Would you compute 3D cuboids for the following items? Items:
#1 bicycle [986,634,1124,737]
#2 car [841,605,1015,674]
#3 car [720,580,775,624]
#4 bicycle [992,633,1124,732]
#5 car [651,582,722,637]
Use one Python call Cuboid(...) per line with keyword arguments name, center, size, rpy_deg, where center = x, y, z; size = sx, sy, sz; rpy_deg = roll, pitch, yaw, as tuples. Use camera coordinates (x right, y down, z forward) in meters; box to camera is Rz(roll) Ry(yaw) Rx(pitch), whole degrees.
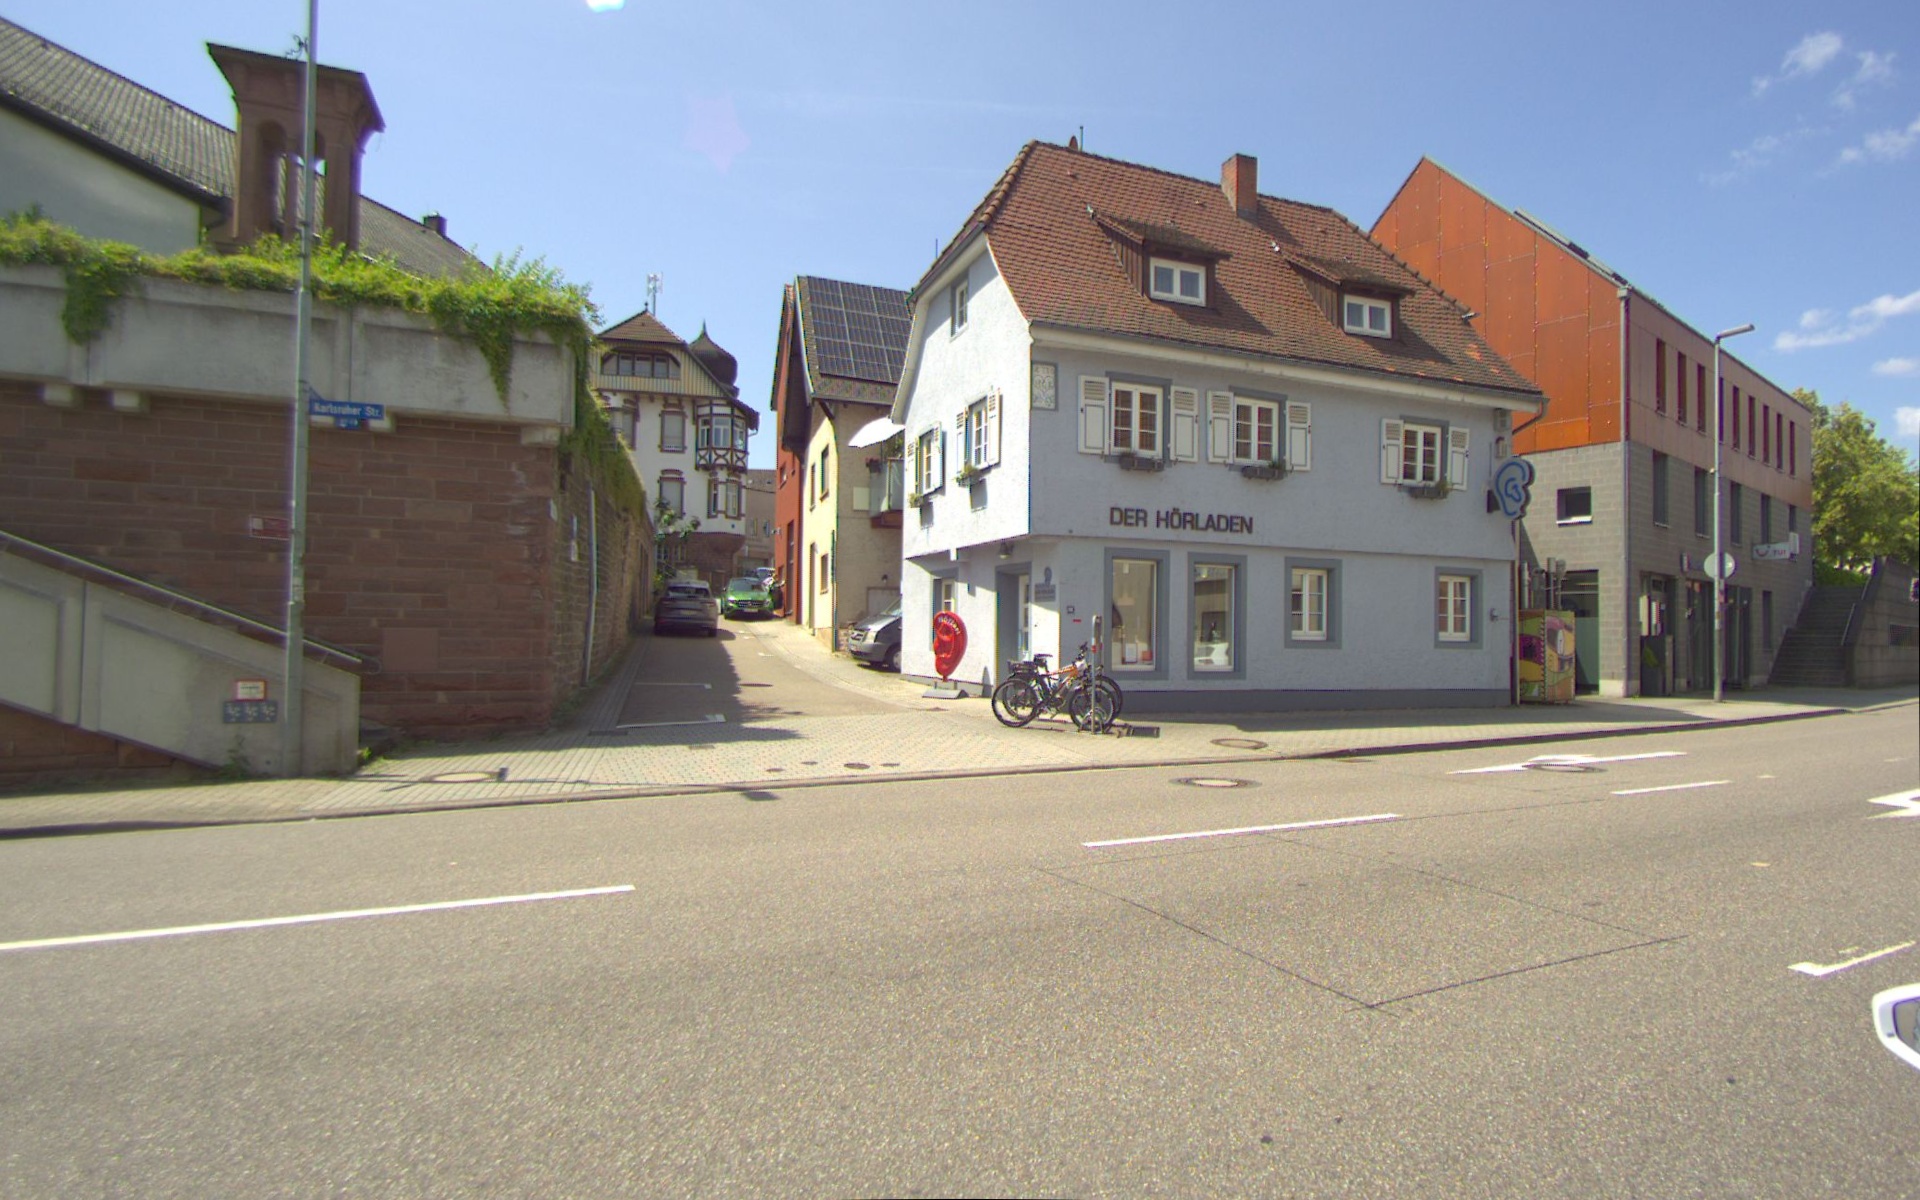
Cuboid(name="bicycle", center=(1.311, 1.155, 13.877), size=(1.794, 1.266, 0.578), rpy_deg=(2, 2, 16))
Cuboid(name="car", center=(-0.821, 0.949, 24.289), size=(3.929, 1.503, 1.862), rpy_deg=(2, -1, -11))
Cuboid(name="car", center=(-8.207, 0.036, 38.563), size=(1.739, 1.379, 3.984), rpy_deg=(1, 4, -17))
Cuboid(name="bicycle", center=(1.421, 1.170, 14.521), size=(1.794, 1.266, 0.578), rpy_deg=(2, 2, 16))
Cuboid(name="car", center=(-8.375, 0.272, 30.556), size=(1.954, 1.541, 3.985), rpy_deg=(1, 0, -17))
